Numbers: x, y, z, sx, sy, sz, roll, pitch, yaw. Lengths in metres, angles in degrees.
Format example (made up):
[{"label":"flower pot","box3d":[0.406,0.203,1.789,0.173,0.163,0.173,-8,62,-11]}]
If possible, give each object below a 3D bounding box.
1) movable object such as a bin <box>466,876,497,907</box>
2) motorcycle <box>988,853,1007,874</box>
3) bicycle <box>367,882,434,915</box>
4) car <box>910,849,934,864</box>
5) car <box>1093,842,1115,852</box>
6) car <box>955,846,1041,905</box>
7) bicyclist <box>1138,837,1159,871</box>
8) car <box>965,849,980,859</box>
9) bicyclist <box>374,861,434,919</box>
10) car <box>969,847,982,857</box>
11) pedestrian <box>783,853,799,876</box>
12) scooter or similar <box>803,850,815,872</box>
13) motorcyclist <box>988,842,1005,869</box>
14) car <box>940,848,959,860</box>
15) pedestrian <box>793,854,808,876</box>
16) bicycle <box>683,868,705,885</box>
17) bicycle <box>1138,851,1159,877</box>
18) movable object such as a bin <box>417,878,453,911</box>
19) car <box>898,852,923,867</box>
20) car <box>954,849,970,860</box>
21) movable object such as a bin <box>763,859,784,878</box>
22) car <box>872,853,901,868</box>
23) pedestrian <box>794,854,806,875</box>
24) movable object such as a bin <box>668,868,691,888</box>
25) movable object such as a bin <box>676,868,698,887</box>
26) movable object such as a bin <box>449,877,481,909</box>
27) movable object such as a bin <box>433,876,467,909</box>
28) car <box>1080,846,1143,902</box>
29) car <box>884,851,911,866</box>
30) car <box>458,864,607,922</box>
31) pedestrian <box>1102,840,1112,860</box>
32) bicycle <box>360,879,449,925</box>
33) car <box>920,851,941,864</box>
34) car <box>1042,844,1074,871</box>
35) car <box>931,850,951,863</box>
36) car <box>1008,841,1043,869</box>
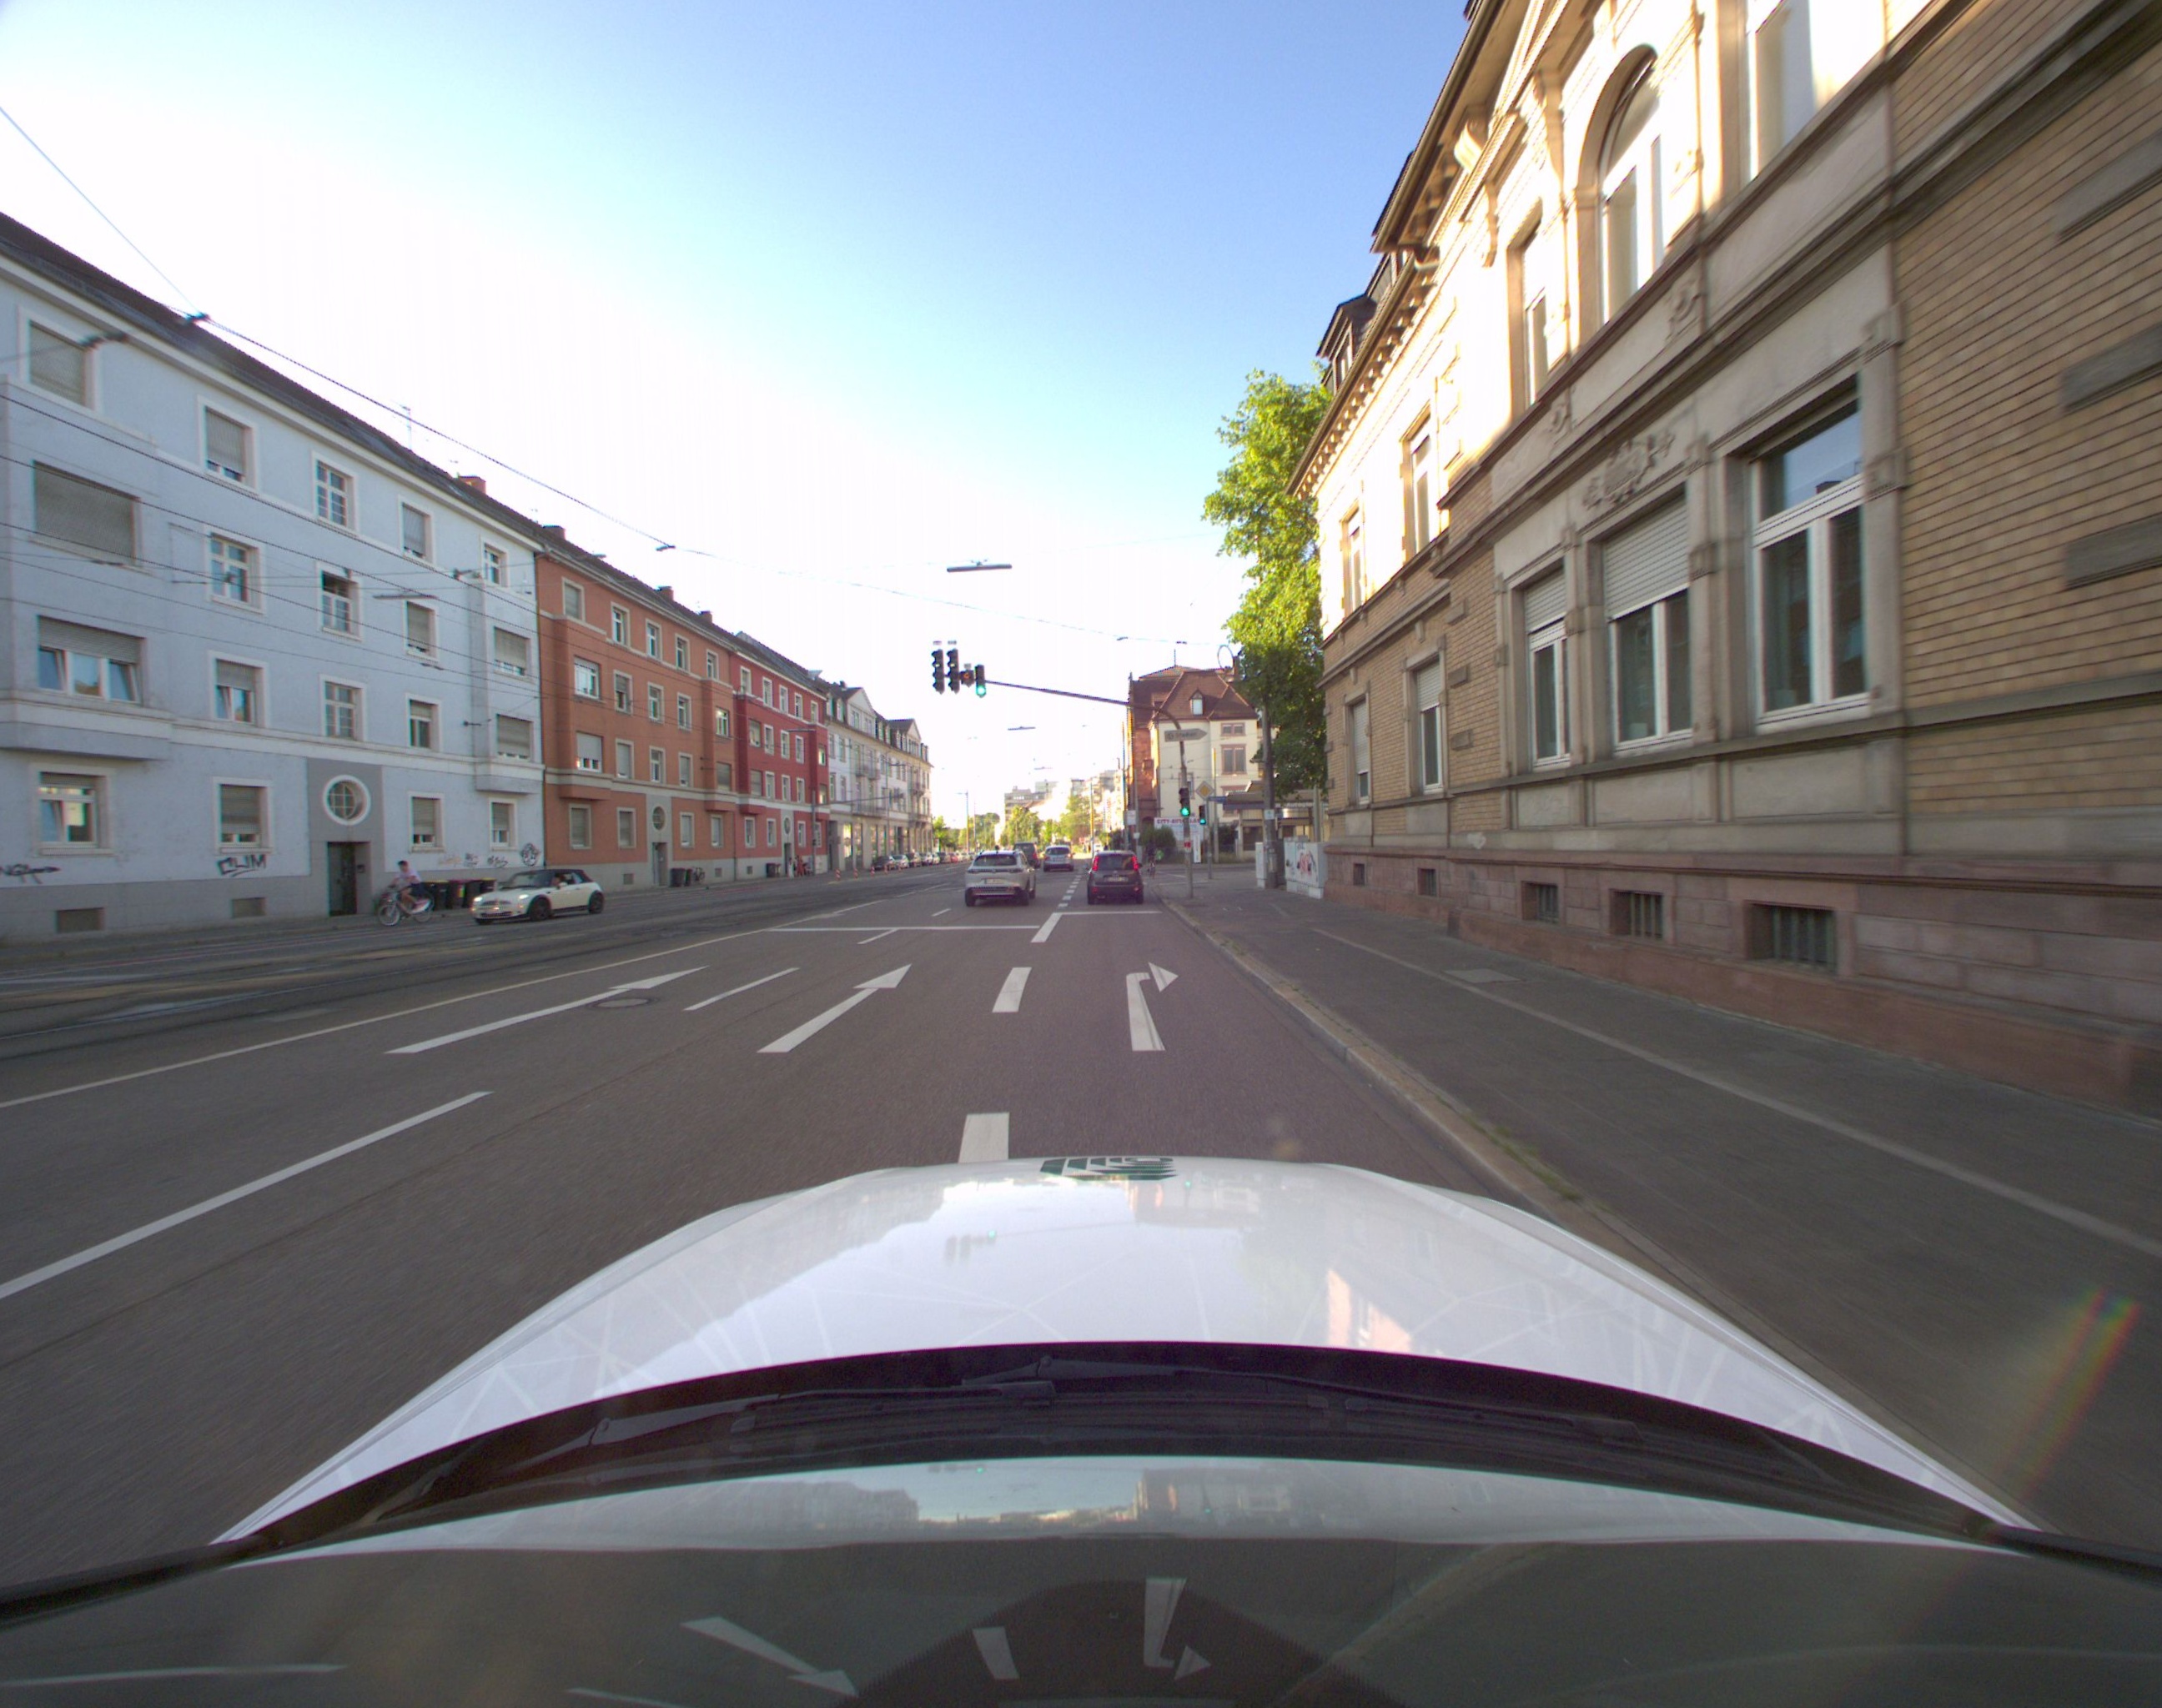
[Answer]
[{"label":"movable object such as a bin","box3d":[-22.359,1.398,30.396,0.700,1.106,0.583,-1,0,1]},{"label":"motorcycle","box3d":[-4.570,0.516,44.859,0.774,1.082,2.281,-2,1,0]},{"label":"bicycle","box3d":[-22.555,1.461,27.024,0.603,0.980,1.877,-1,0,1]},{"label":"car","box3d":[-18.535,0.286,94.869,1.829,1.552,4.275,-2,1,1]},{"label":"car","box3d":[4.574,-1.376,163.310,4.256,2.013,1.994,-1,0,-8]},{"label":"car","box3d":[-2.346,0.573,24.111,1.940,1.528,4.092,-1,1,2]},{"label":"bicyclist","box3d":[3.074,0.015,37.291,0.831,1.525,0.993,-1,0,-1]},{"label":"car","box3d":[-17.946,-0.020,134.918,1.713,1.552,4.001,-2,1,1]},{"label":"bicyclist","box3d":[-19.900,1.037,23.957,0.744,1.643,1.126,-2,0,1]},{"label":"car","box3d":[-18.229,-0.348,140.933,1.713,1.552,4.001,-2,1,1]},{"label":"pedestrian","box3d":[-21.387,0.774,60.025,0.786,1.633,0.658,-1,0,19]},{"label":"scooter or similar","box3d":[-20.775,0.533,62.204,0.657,1.633,0.787,-2,0,-31]},{"label":"motorcyclist","box3d":[-4.642,0.082,44.798,0.775,1.423,0.891,-2,1,0]},{"label":"car","box3d":[-17.894,0.018,111.041,1.713,1.552,4.001,-2,1,1]},{"label":"pedestrian","box3d":[-21.027,0.820,60.962,0.835,1.633,0.786,-2,0,-37]},{"label":"bicycle","box3d":[-22.217,1.299,46.822,0.333,0.890,1.607,-2,0,6]},{"label":"bicycle","box3d":[3.085,0.442,37.199,0.768,1.086,1.871,-2,1,0]},{"label":"movable object such as a bin","box3d":[-22.534,1.417,28.423,0.699,1.106,0.648,-1,0,1]},{"label":"car","box3d":[-18.407,0.565,88.094,1.713,1.552,3.857,-2,1,1]},{"label":"car","box3d":[-18.065,0.016,124.057,1.713,1.552,4.001,-2,0,1]},{"label":"movable object such as a bin","box3d":[-21.771,1.022,57.762,0.866,1.249,1.236,-2,0,7]},{"label":"car","box3d":[-18.475,0.590,77.556,1.713,1.232,4.001,-2,1,1]},{"label":"pedestrian","box3d":[-21.343,0.791,61.867,0.657,1.633,0.787,-2,0,-31]},{"label":"movable object such as a bin","box3d":[-21.910,1.294,44.415,0.841,1.040,0.810,-2,0,-3]},{"label":"movable object such as a bin","box3d":[-21.927,1.304,45.324,0.841,1.040,0.810,-2,0,-3]},{"label":"movable object such as a bin","box3d":[-22.473,1.420,29.716,0.700,1.106,0.583,-1,0,1]},{"label":"movable object such as a bin","box3d":[-22.530,1.372,29.079,0.699,1.106,0.583,-1,0,1]},{"label":"car","box3d":[1.003,0.539,24.657,1.723,1.500,4.005,-1,1,4]},{"label":"car","box3d":[-18.722,0.442,83.142,1.713,1.452,4.001,-2,1,1]},{"label":"car","box3d":[-15.276,1.031,22.919,1.720,1.375,3.534,-2,1,0]},{"label":"pedestrian","box3d":[2.428,-0.347,76.546,0.872,1.824,1.185,-1,0,2]},{"label":"bicycle","box3d":[-19.891,1.386,24.006,0.743,1.191,2.153,-2,0,1]},{"label":"car","box3d":[-18.492,0.409,100.010,1.713,1.552,4.001,-2,1,1]},{"label":"car","box3d":[-1.399,0.175,51.545,1.808,1.582,4.000,-2,0,1]},{"label":"car","box3d":[-18.079,0.352,105.083,1.713,1.552,4.001,-2,1,1]},{"label":"car","box3d":[-4.171,0.039,62.123,2.164,2.009,4.809,-2,0,1]}]
